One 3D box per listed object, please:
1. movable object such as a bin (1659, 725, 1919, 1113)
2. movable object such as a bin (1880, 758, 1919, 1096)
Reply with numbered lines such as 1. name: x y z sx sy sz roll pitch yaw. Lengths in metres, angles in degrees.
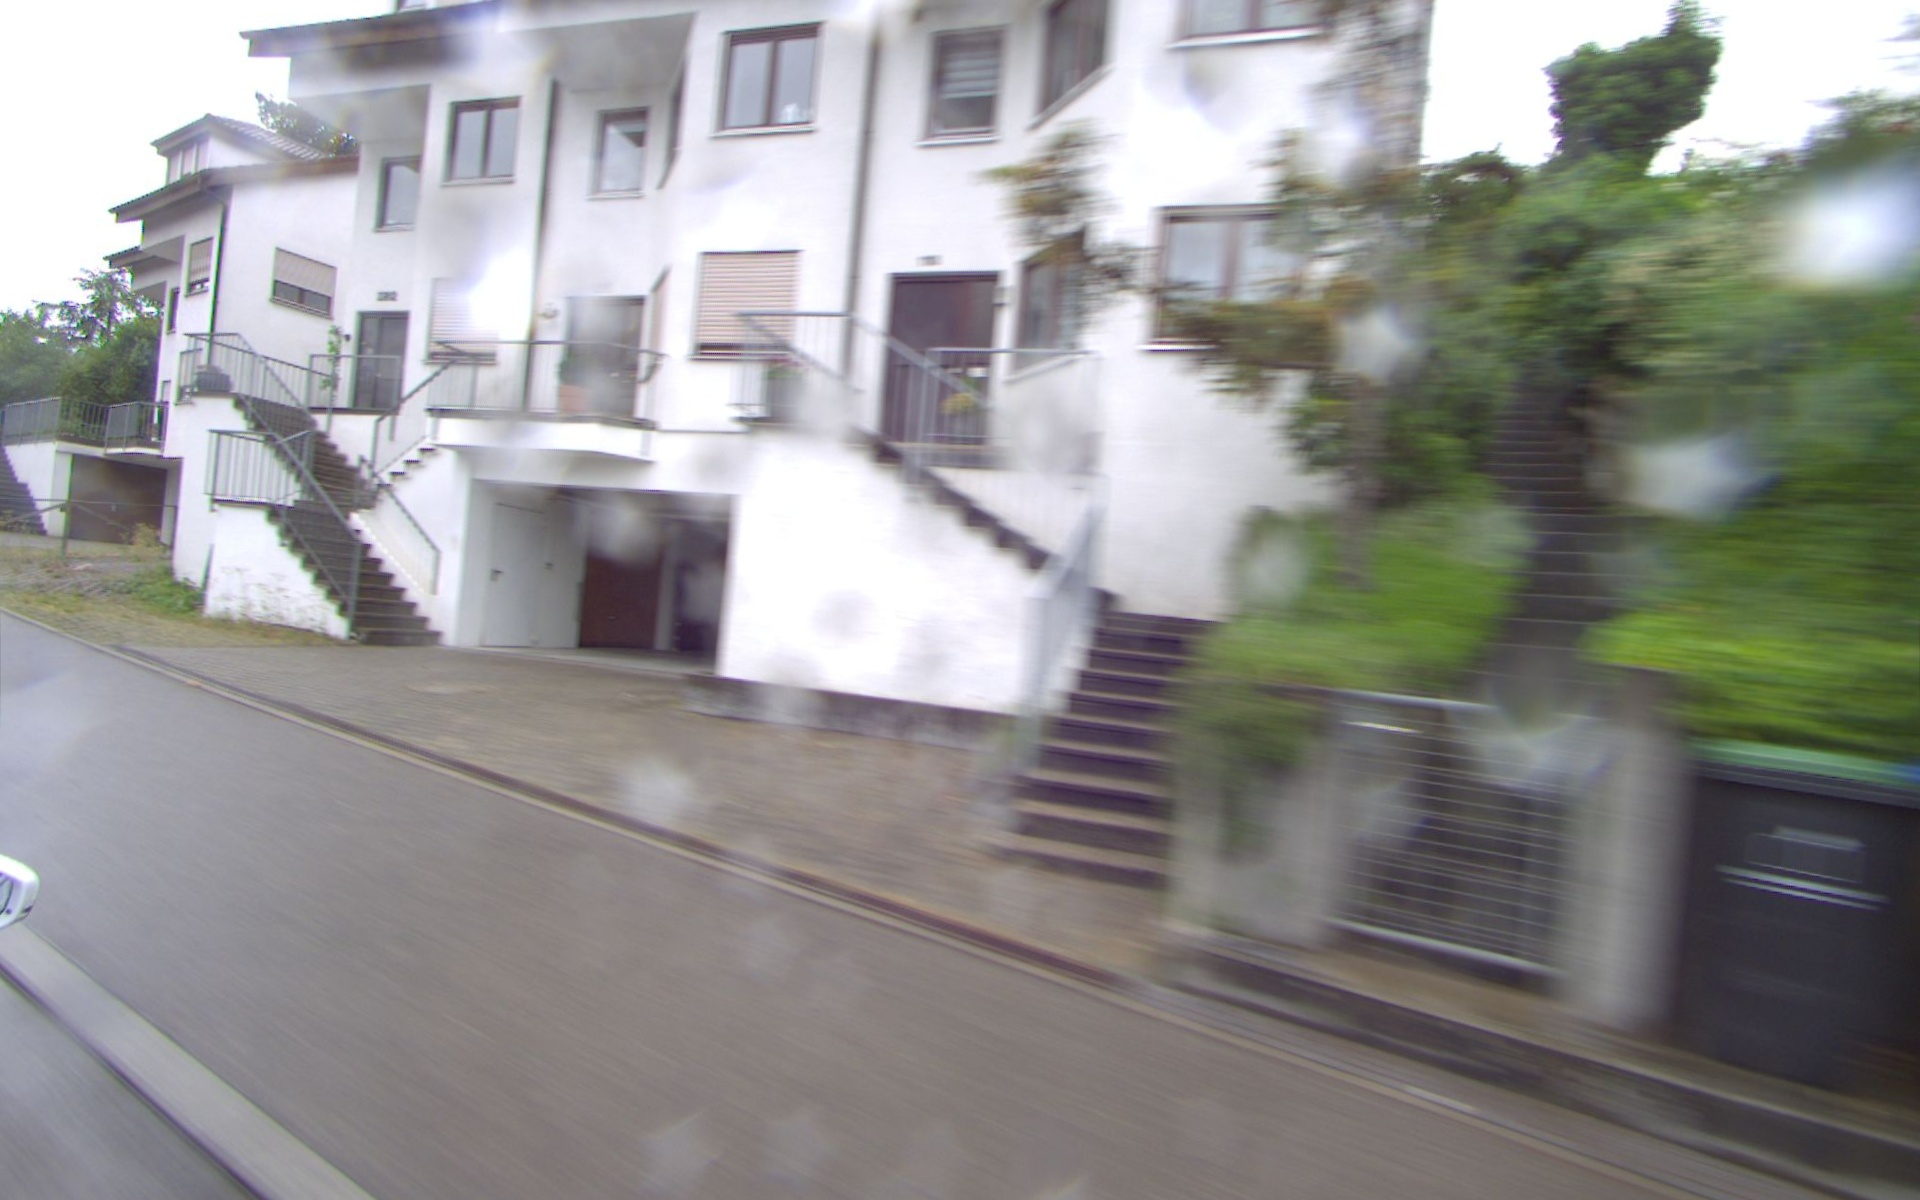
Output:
1. movable object such as a bin: 2.754 0.995 3.353 0.567 1.059 0.492 6 0 32
2. movable object such as a bin: 3.480 1.102 3.255 0.567 1.059 0.492 6 0 32
